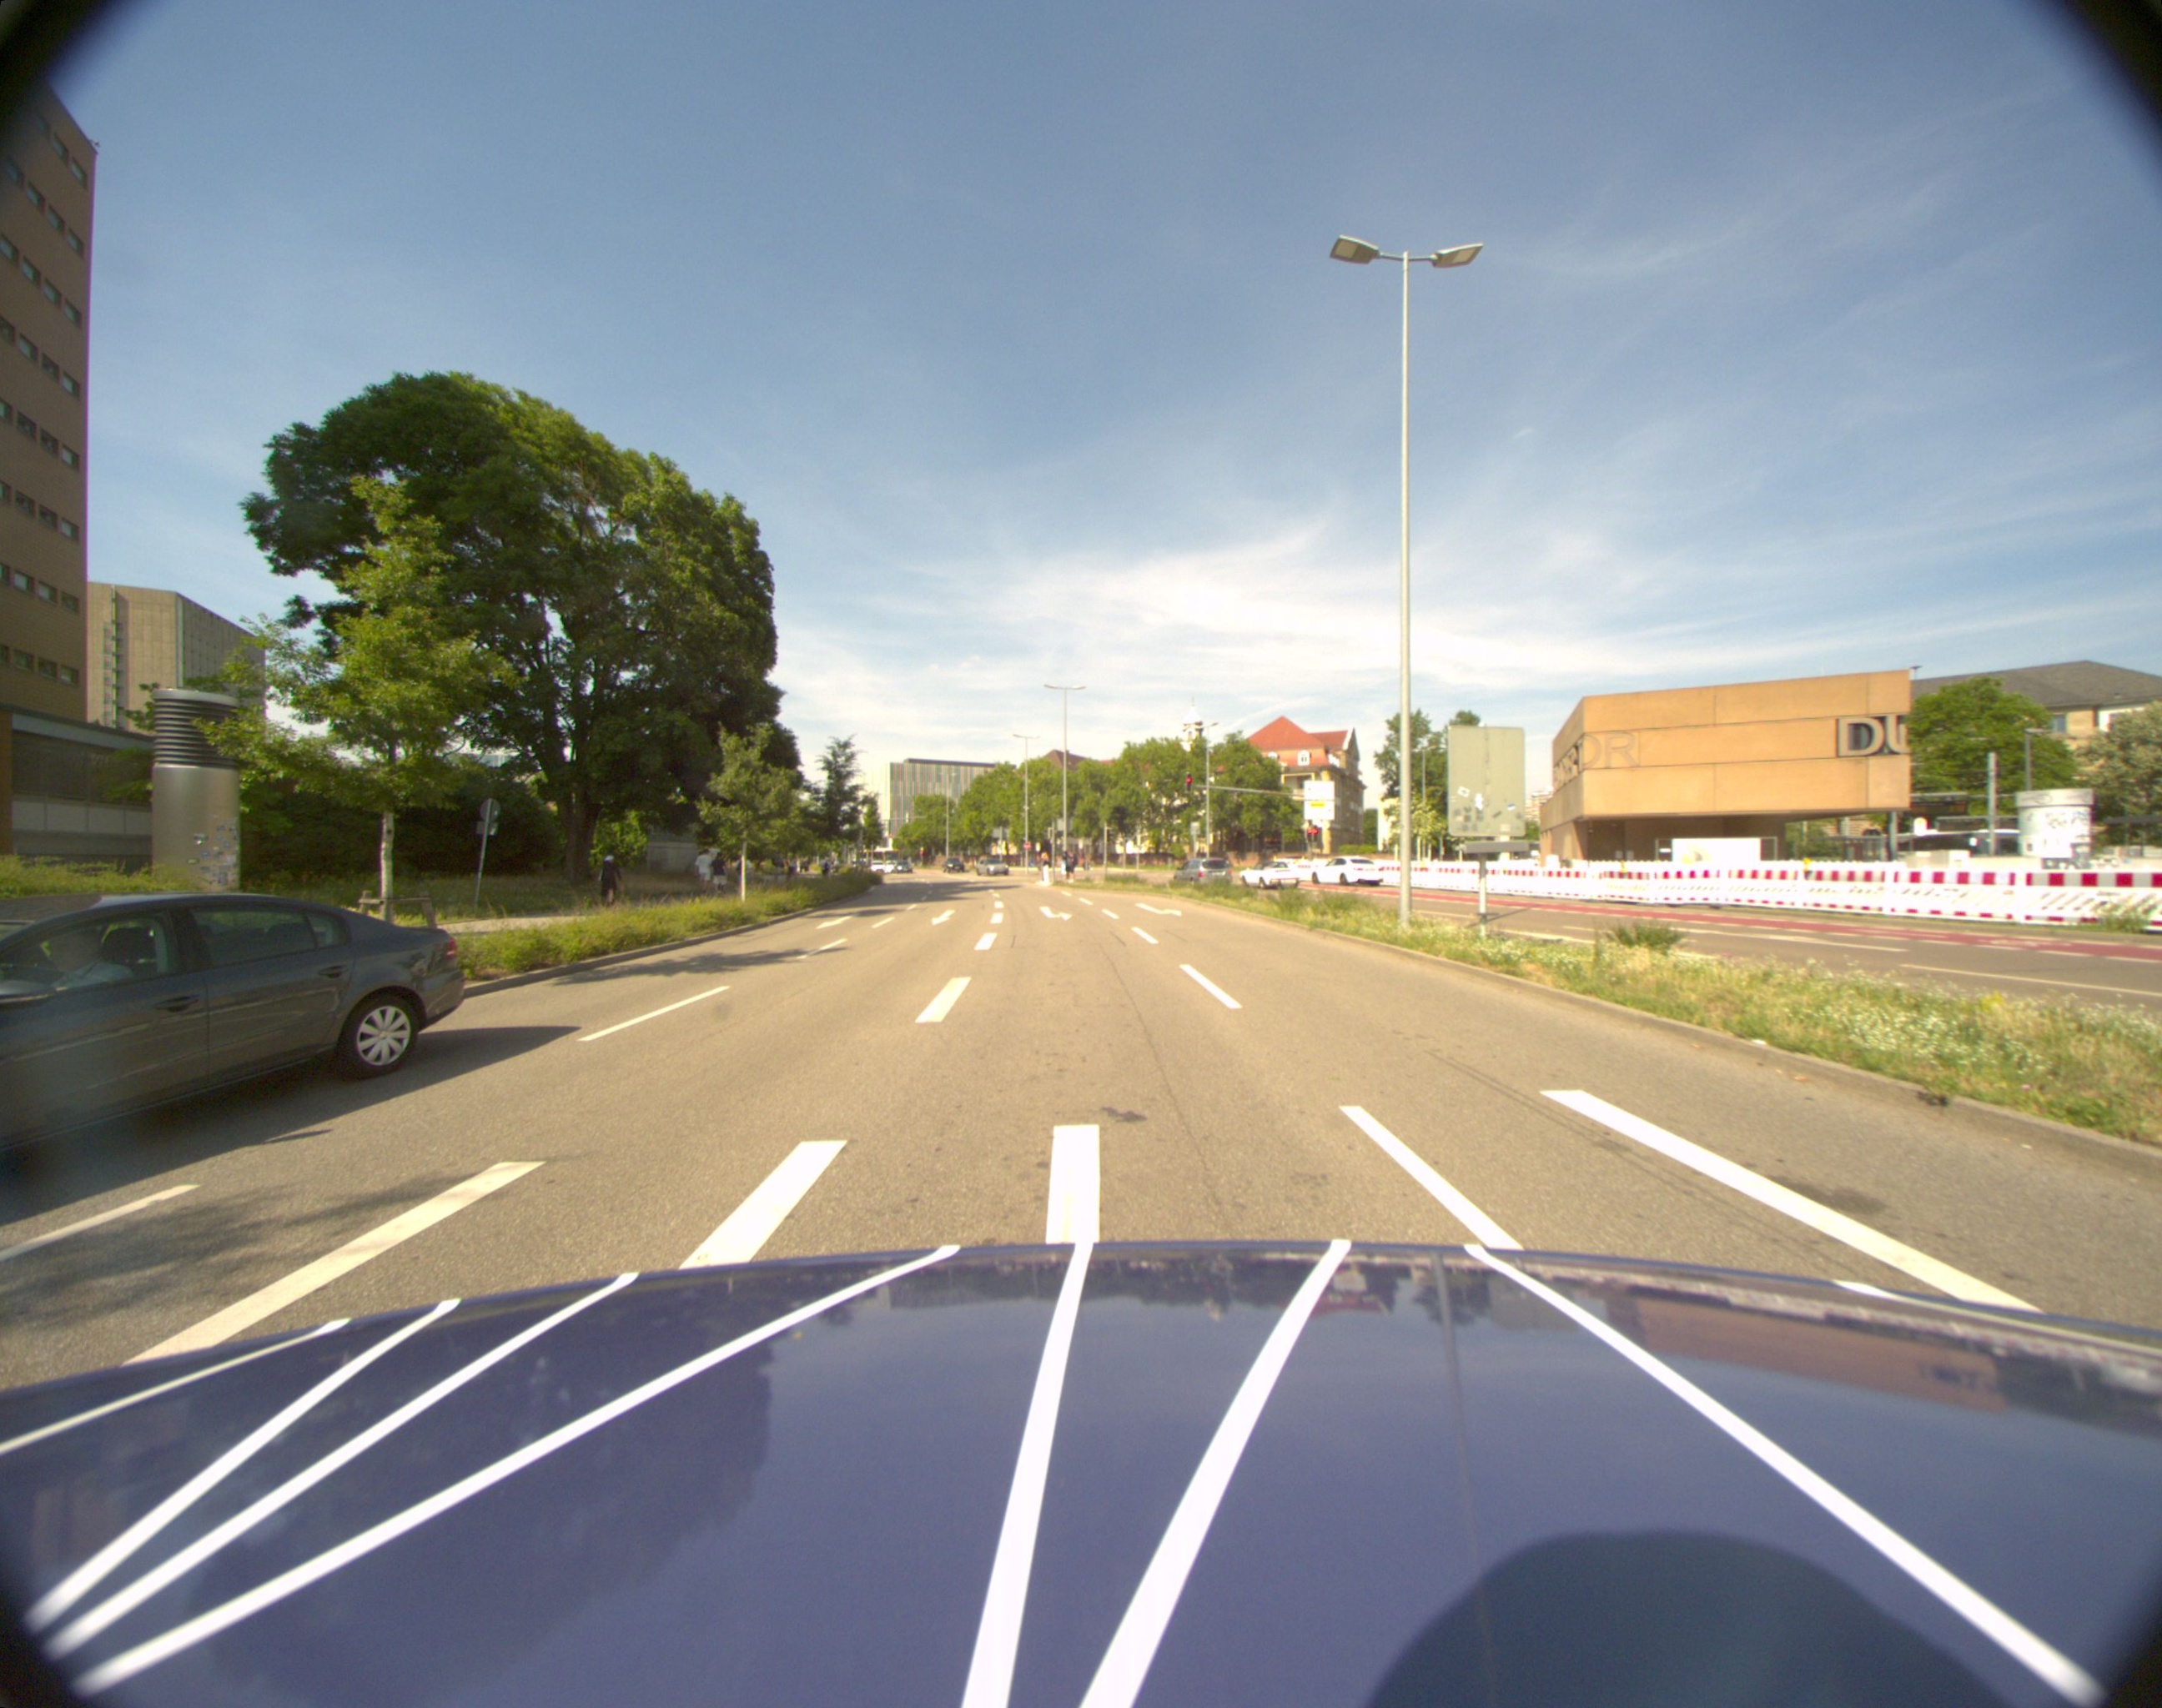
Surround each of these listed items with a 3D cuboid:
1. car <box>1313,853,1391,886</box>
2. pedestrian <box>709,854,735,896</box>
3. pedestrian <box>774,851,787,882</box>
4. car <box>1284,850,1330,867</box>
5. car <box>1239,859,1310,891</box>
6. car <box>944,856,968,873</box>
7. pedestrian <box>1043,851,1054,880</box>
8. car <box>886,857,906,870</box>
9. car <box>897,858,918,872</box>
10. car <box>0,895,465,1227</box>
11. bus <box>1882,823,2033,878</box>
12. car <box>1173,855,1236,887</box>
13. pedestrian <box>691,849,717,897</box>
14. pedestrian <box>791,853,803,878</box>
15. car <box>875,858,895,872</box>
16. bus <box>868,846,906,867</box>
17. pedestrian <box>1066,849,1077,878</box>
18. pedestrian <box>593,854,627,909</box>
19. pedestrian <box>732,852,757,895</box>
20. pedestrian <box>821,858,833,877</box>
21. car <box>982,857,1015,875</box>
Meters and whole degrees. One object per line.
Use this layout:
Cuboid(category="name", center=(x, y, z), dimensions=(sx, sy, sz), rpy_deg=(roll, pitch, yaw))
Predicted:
Cuboid(category="car", center=(13.117, 0.702, 37.094), dimensions=(1.804, 1.412, 3.996), rpy_deg=(-2, 1, -10))
Cuboid(category="pedestrian", center=(-13.929, 0.805, 29.492), dimensions=(0.643, 1.617, 0.731), rpy_deg=(1, 1, 1))
Cuboid(category="pedestrian", center=(-17.181, 0.691, 43.447), dimensions=(0.644, 1.754, 0.474), rpy_deg=(1, 1, -20))
Cuboid(category="car", center=(21.605, 0.406, 72.609), dimensions=(4.117, 1.435, 1.756), rpy_deg=(-3, 1, -24))
Cuboid(category="car", center=(8.796, 0.900, 34.842), dimensions=(1.600, 1.279, 3.996), rpy_deg=(-2, 1, -10))
Cuboid(category="car", center=(-13.533, 1.116, 81.923), dimensions=(1.761, 1.719, 4.106), rpy_deg=(-3, 1, -20))
Cuboid(category="pedestrian", center=(-1.870, 0.654, 43.766), dimensions=(0.541, 1.664, 0.752), rpy_deg=(0, 0, 1))
Cuboid(category="car", center=(-22.210, 1.145, 91.067), dimensions=(1.653, 1.416, 4.112), rpy_deg=(-3, 1, -22))
Cuboid(category="car", center=(-19.619, 1.196, 85.715), dimensions=(1.653, 1.416, 4.112), rpy_deg=(-3, 1, -22))
Cuboid(category="car", center=(-6.072, 1.105, 4.196), dimensions=(1.635, 1.427, 4.528), rpy_deg=(-1, 1, -1))
Cuboid(category="bus", center=(59.552, -0.209, 52.104), dimensions=(2.751, 3.303, 11.811), rpy_deg=(0, 0, 28))
Cuboid(category="car", center=(5.660, 0.751, 35.211), dimensions=(1.600, 1.279, 3.996), rpy_deg=(-2, 1, -10))
Cuboid(category="pedestrian", center=(-14.618, 0.727, 29.472), dimensions=(0.643, 1.827, 0.731), rpy_deg=(1, 1, 1))
Cuboid(category="pedestrian", center=(-16.372, 0.668, 43.772), dimensions=(0.644, 1.438, 0.568), rpy_deg=(1, 1, -20))
Cuboid(category="car", center=(-21.246, 1.157, 82.104), dimensions=(1.684, 1.466, 3.753), rpy_deg=(-3, 1, -20))
Cuboid(category="bus", center=(-29.933, 0.441, 116.571), dimensions=(2.801, 3.020, 12.121), rpy_deg=(0, 0, -28))
Cuboid(category="pedestrian", center=(-0.550, 0.558, 44.308), dimensions=(0.643, 1.664, 0.752), rpy_deg=(0, 0, 1))
Cuboid(category="pedestrian", center=(-14.648, 0.843, 23.650), dimensions=(0.592, 1.654, 0.731), rpy_deg=(1, 1, 1))
Cuboid(category="pedestrian", center=(-13.320, 0.747, 30.085), dimensions=(0.643, 1.664, 0.752), rpy_deg=(1, 1, 1))
Cuboid(category="pedestrian", center=(-15.114, 0.789, 45.173), dimensions=(0.644, 1.125, 0.751), rpy_deg=(1, 1, -15))
Cuboid(category="car", center=(-7.328, 1.045, 67.195), dimensions=(1.836, 1.427, 4.090), rpy_deg=(-3, 1, -22))
